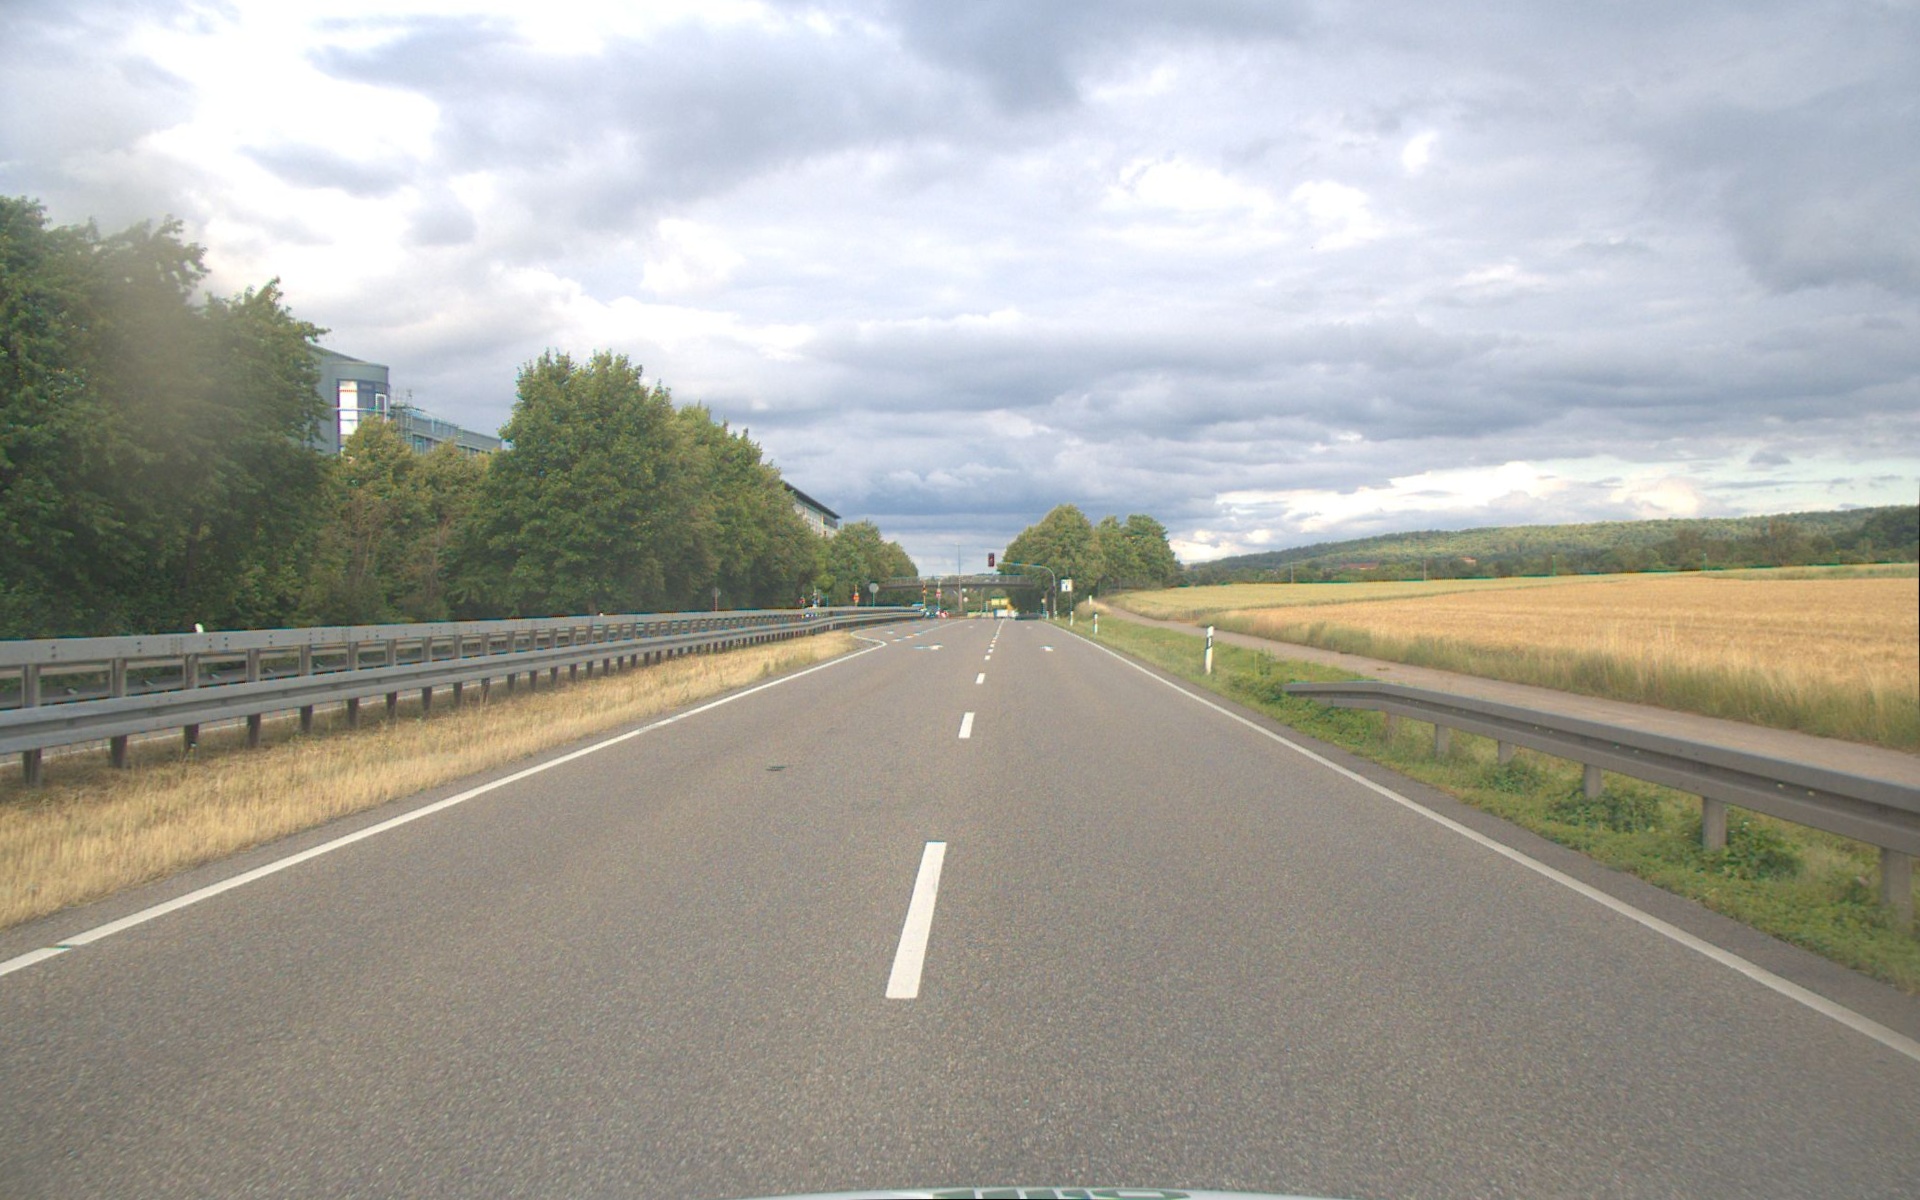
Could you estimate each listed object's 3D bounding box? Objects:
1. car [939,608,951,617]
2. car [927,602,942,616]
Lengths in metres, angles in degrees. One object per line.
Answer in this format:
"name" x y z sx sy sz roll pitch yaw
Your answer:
"car" -1.804 1.501 201.371 1.329 1.111 2.922 0 0 2
"car" -3.676 1.258 236.645 1.952 1.906 4.737 0 0 2
